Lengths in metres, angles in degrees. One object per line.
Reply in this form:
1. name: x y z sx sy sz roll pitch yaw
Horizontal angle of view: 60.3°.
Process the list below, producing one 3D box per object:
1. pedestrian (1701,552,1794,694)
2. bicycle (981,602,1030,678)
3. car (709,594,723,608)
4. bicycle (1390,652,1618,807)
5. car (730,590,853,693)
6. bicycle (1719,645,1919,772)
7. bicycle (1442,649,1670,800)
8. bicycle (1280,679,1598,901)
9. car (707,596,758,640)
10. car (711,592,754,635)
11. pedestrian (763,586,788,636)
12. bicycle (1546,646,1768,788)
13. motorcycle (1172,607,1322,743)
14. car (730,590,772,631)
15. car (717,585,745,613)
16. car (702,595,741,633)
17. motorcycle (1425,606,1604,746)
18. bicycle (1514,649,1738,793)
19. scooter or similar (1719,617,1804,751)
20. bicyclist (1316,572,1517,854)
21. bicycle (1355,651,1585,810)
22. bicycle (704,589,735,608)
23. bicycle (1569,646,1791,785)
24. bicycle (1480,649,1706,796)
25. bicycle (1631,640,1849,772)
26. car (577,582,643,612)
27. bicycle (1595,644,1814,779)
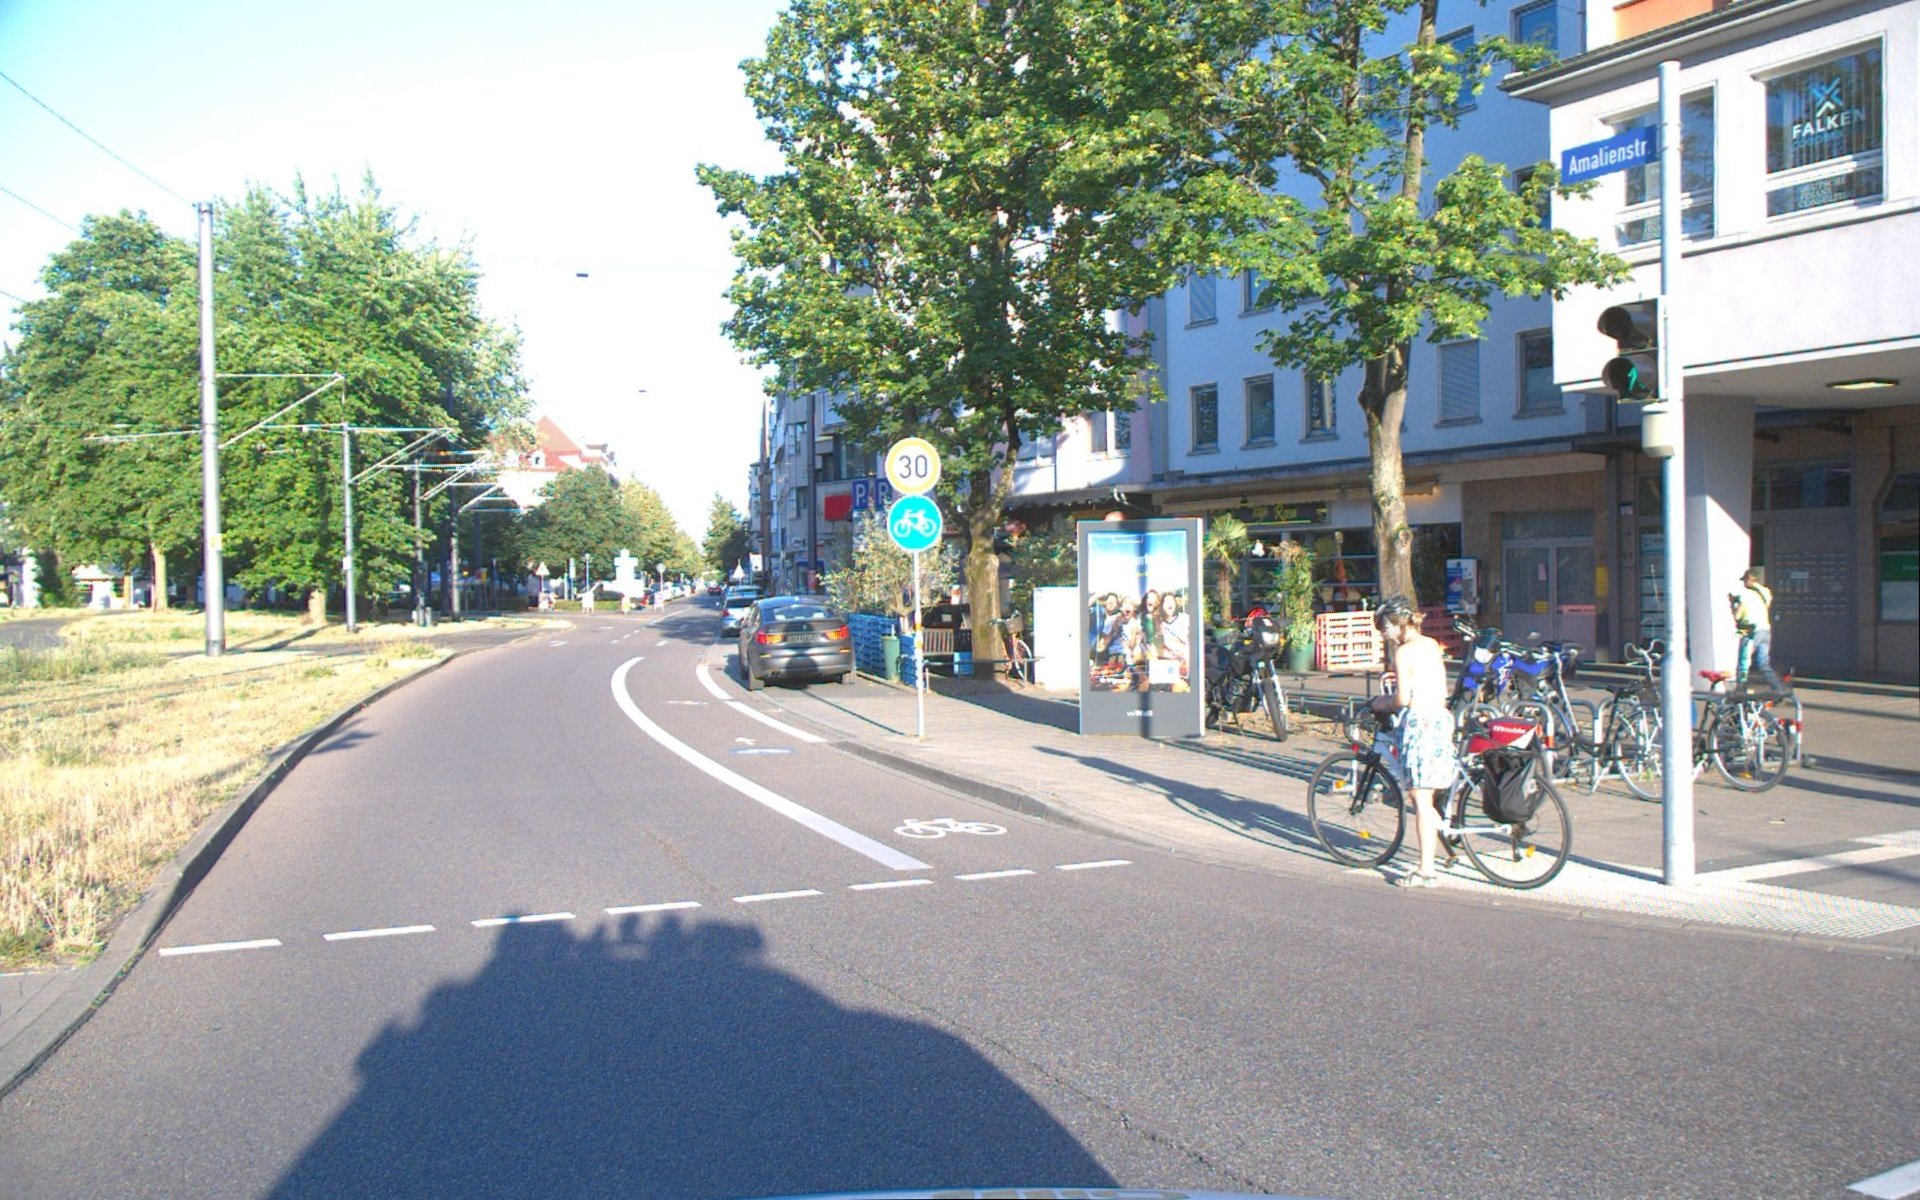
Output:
1. pedestrian: 9.985 0.279 20.971 0.648 1.755 0.867 0 0 -34
2. bicycle: 0.758 0.657 28.128 0.438 1.231 2.078 0 0 -10
3. car: -29.959 0.136 203.081 1.549 1.569 3.387 -3 0 -11
4. bicycle: 4.117 0.950 12.643 0.357 1.045 1.770 0 0 -37
5. car: -3.157 0.680 30.204 1.773 1.699 4.799 0 1 -12
6. bicycle: 7.907 0.965 15.162 0.361 1.045 1.770 0 0 -38
7. bicycle: 4.628 0.940 12.953 0.357 1.045 1.770 0 0 -37
8. bicycle: 2.652 1.015 9.331 0.511 1.045 1.770 0 1 -38
9. car: -8.228 0.635 60.032 1.751 1.481 3.994 -1 0 -7
10. car: -9.005 0.497 65.293 1.556 1.618 3.659 0 0 -10
11. pedestrian: -6.777 0.404 60.663 0.632 1.817 0.847 0 0 -32
12. bicycle: 5.758 0.938 13.762 0.357 1.045 1.770 0 0 -37
13. motorcycle: 3.115 0.779 18.190 0.631 1.367 2.190 0 0 -19
14. car: -9.706 0.447 76.604 1.751 1.836 4.391 0 1 -10
15. car: -15.597 -0.077 112.610 1.759 1.823 4.084 -1 0 -8
16. car: -10.223 0.593 71.107 1.610 1.555 3.993 0 1 -8
17. motorcycle: 5.865 0.767 17.439 2.122 1.378 0.636 0 0 -33
18. bicycle: 5.403 0.953 13.519 0.357 1.045 1.770 0 0 -37
19. scooter or similar: 8.234 0.833 17.034 0.302 1.285 1.527 0 0 7
20. bicyclist: 2.585 0.597 9.379 0.790 1.506 0.795 0 0 -39
21. bicycle: 3.767 0.938 12.361 0.357 1.045 1.770 0 0 -37
22. bicycle: -14.583 -0.074 100.358 1.750 1.007 0.542 -4 2 8
23. bicycle: 6.055 0.942 14.000 0.361 1.045 1.770 0 0 -38
24. bicycle: 5.044 0.948 13.278 0.365 1.045 1.770 0 0 -38
25. bicycle: 6.832 0.905 14.572 0.361 1.045 1.770 0 0 -38
26. car: -27.150 -0.240 128.382 4.561 2.290 2.175 0 0 -36
27. bicycle: 6.395 0.929 14.286 0.361 1.045 1.770 0 0 -38
